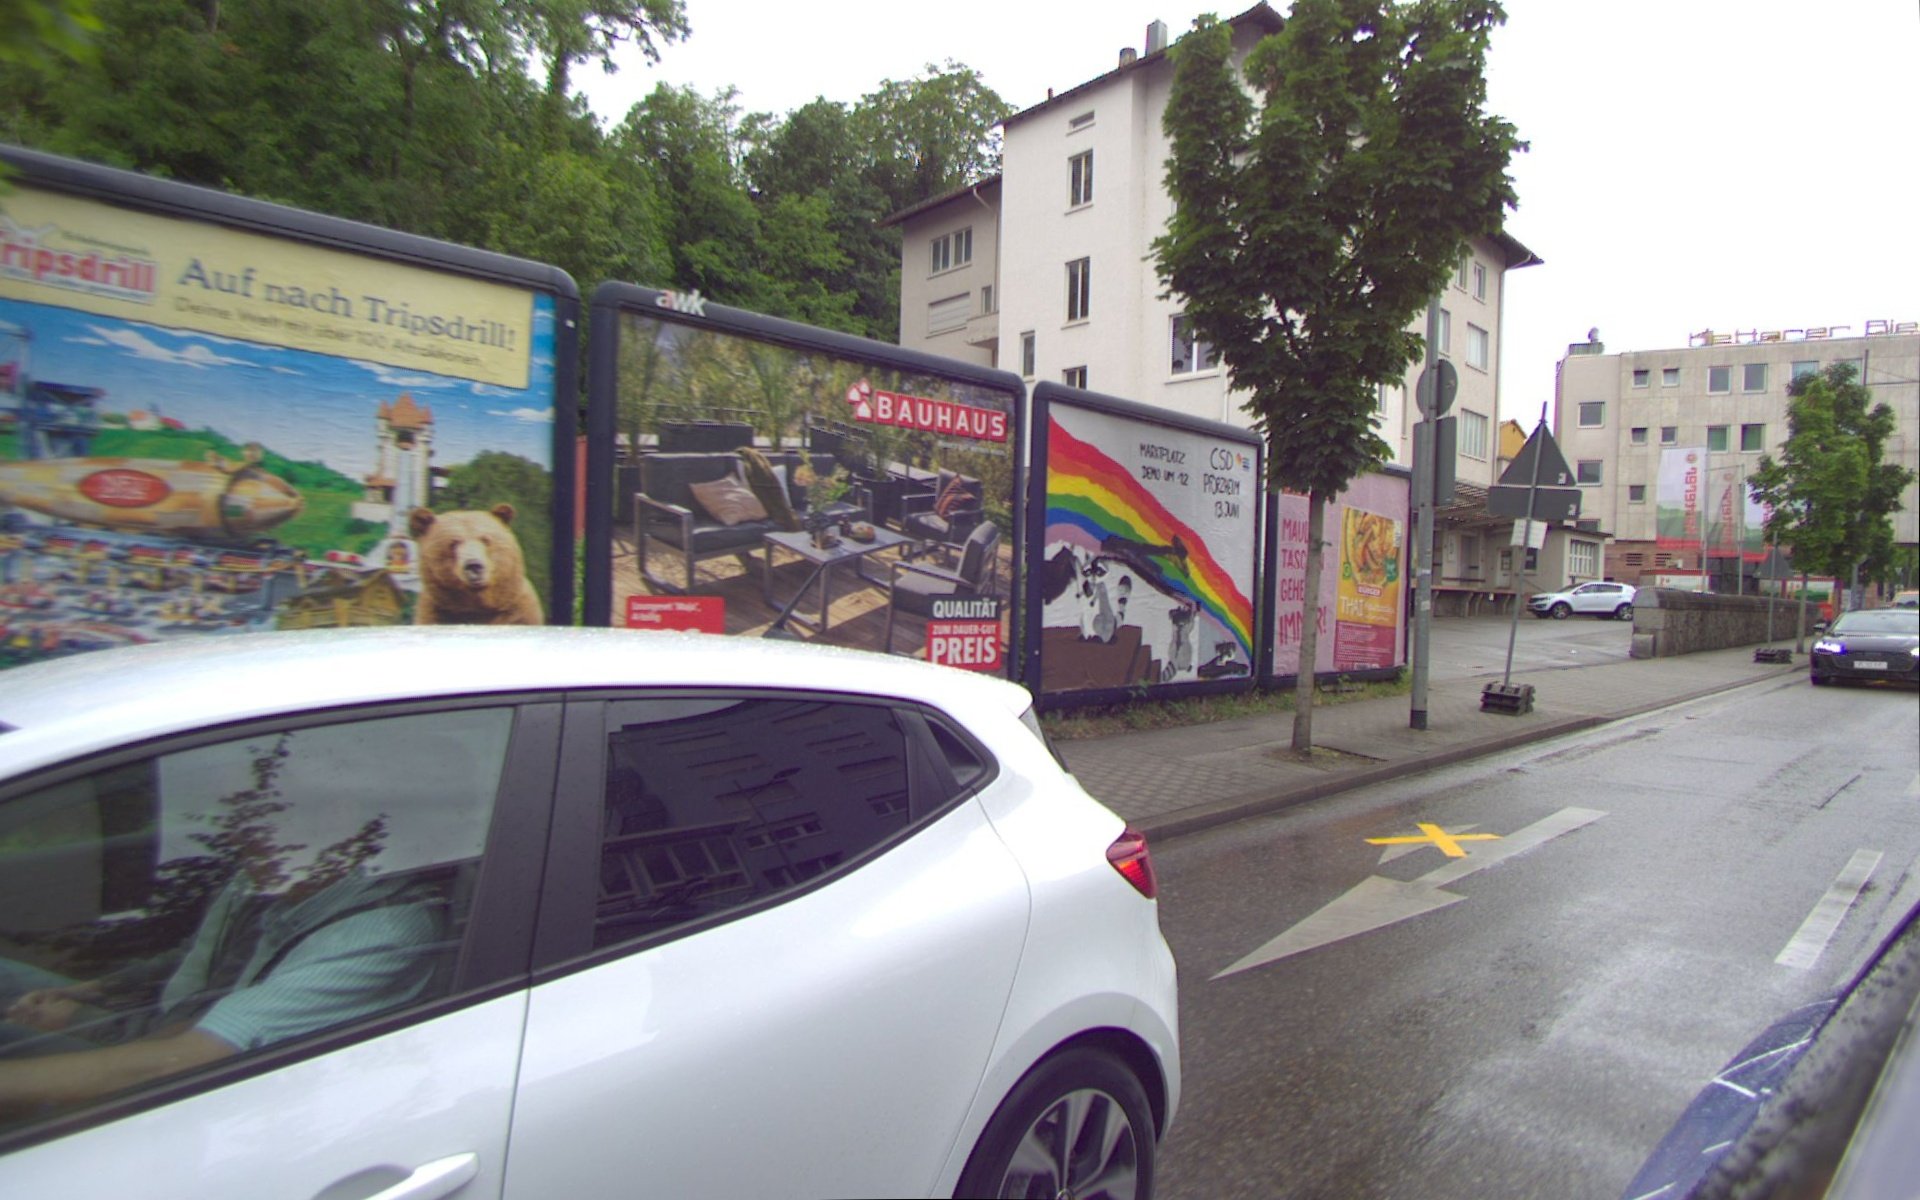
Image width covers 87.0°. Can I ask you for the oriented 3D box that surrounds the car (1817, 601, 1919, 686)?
[{"bbox_3d":[17.603,0.743,18.987,4.555,1.421,1.791,0,0,-43],"label":"car"}]

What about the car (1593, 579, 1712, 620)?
[{"bbox_3d":[31.119,-0.041,45.566,3.940,1.602,1.765,4,1,13],"label":"car"}]

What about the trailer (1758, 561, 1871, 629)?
[{"bbox_3d":[44.502,-0.341,52.916,2.606,3.215,5.677,3,2,21],"label":"trailer"}]

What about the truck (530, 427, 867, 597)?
[{"bbox_3d":[-5.739,-1.803,22.859,6.801,3.254,2.640,1,3,-38],"label":"truck"}]

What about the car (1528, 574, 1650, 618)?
[{"bbox_3d":[26.949,-0.162,43.494,3.916,1.588,1.922,4,-2,8],"label":"car"}]

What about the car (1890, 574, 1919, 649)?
[{"bbox_3d":[29.437,0.353,30.192,5.448,2.115,2.104,1,1,-43],"label":"car"}]

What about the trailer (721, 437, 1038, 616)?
[{"bbox_3d":[-1.316,-1.189,18.175,5.294,2.749,2.133,1,3,-40],"label":"trailer"}]

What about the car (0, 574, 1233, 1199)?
[{"bbox_3d":[-1.403,0.706,1.544,3.800,1.413,1.668,2,2,-42],"label":"car"}]

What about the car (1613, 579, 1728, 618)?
[{"bbox_3d":[35.356,-0.089,50.464,4.218,1.669,1.858,4,1,17],"label":"car"}]

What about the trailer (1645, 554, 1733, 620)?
[{"bbox_3d":[39.733,-0.750,55.366,2.722,3.348,6.019,2,1,25],"label":"trailer"}]
